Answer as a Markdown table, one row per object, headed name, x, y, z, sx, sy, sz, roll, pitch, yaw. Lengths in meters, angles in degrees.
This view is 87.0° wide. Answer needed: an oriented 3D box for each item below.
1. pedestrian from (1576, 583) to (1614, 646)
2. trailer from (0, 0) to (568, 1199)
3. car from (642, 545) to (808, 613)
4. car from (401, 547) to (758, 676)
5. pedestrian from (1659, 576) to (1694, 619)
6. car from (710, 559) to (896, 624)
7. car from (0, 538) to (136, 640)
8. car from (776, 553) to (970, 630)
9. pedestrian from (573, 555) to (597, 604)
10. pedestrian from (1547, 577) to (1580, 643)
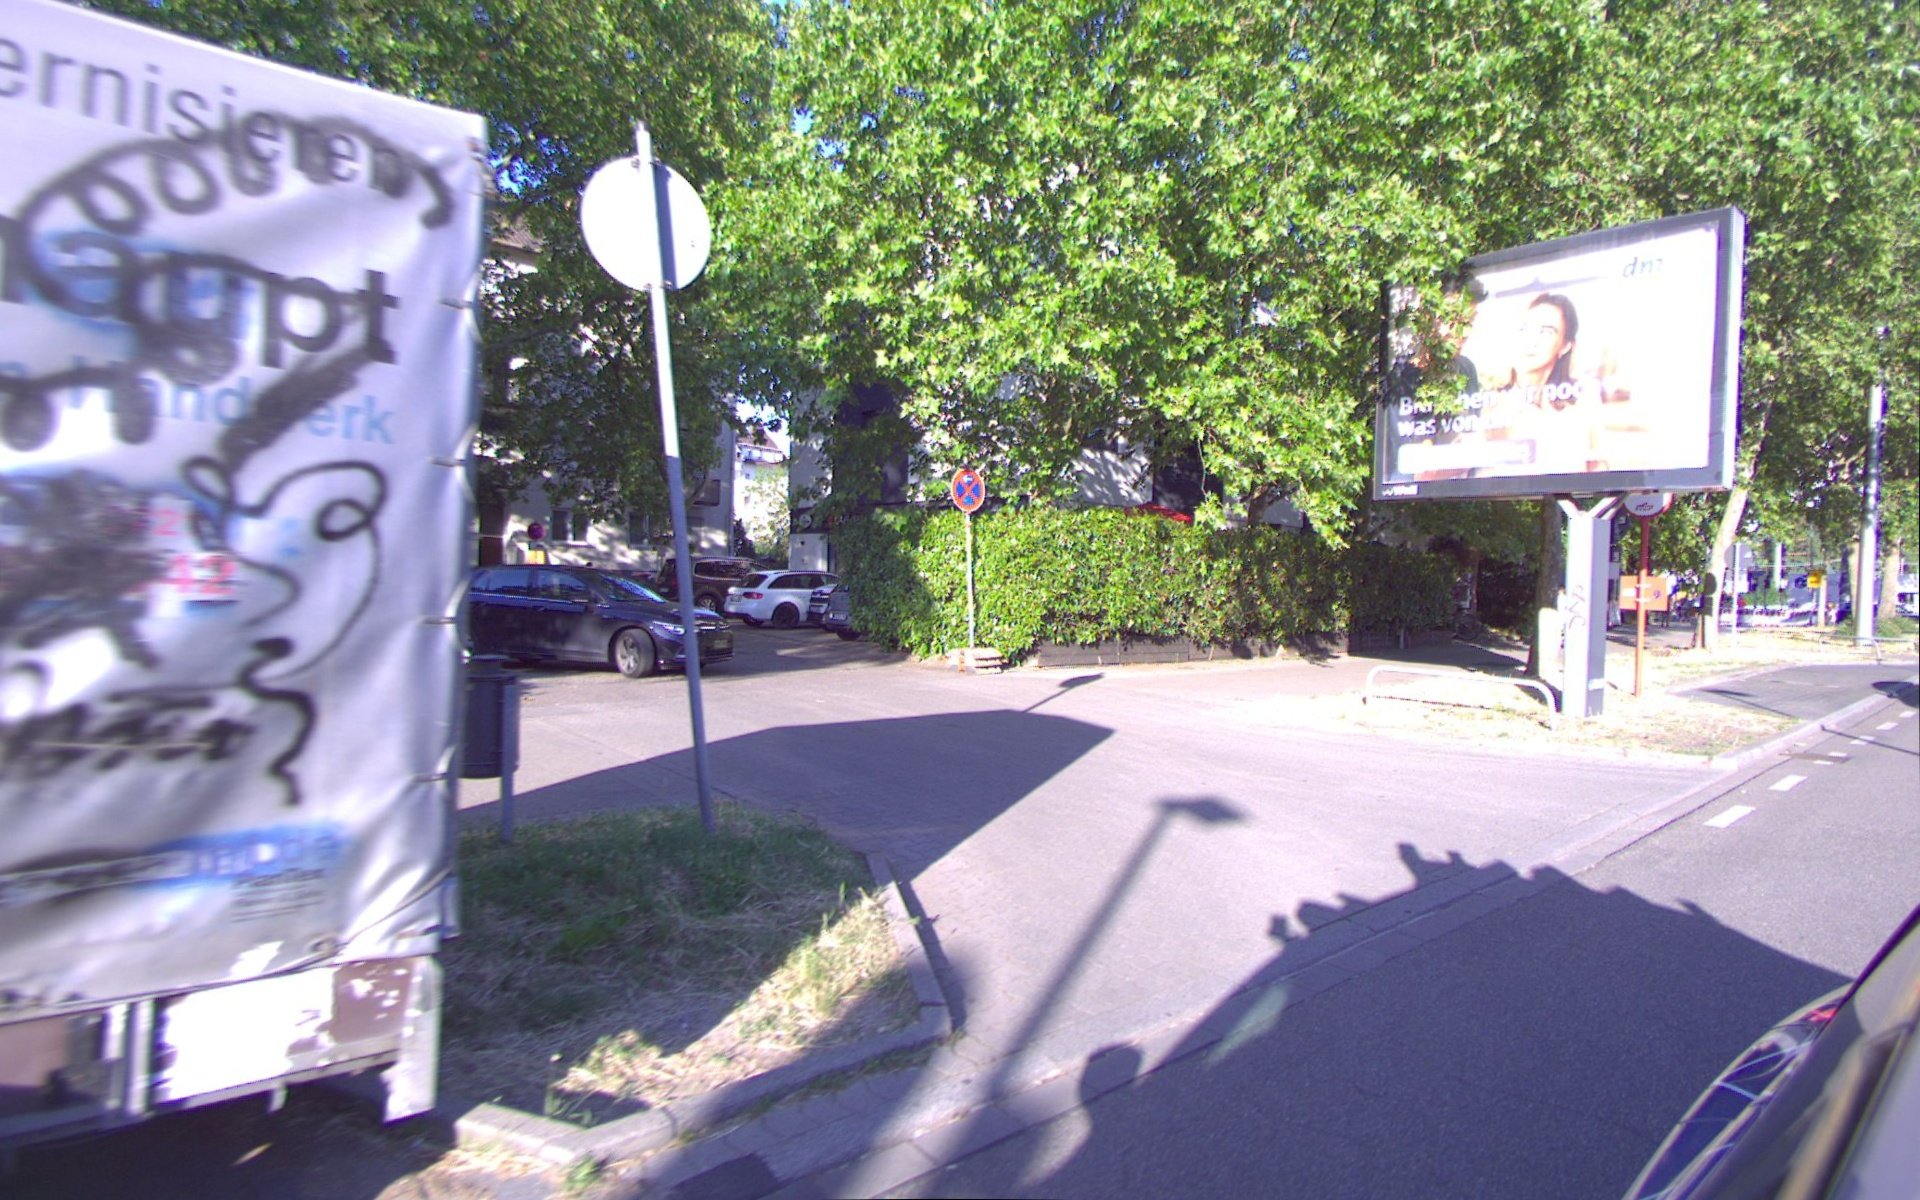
| name | x | y | z | sx | sy | sz | roll | pitch | yaw |
| --- | --- | --- | --- | --- | --- | --- | --- | --- | --- |
| pedestrian | 16.007 | 0.355 | 25.519 | 0.753 | 1.561 | 0.625 | 0 | 2 | -45 |
| trailer | -3.174 | -0.119 | 1.346 | 4.569 | 2.620 | 1.889 | 0 | 2 | -41 |
| car | -6.585 | -0.577 | 28.453 | 4.116 | 1.773 | 2.003 | 1 | 2 | -30 |
| car | -5.175 | 0.098 | 14.020 | 4.228 | 1.514 | 1.994 | 2 | 1 | 11 |
| pedestrian | 32.482 | -0.116 | 45.859 | 0.935 | 1.887 | 1.062 | 0 | 1 | -41 |
| car | -3.901 | -0.222 | 25.217 | 4.116 | 1.494 | 2.003 | 1 | 2 | -30 |
| car | -15.335 | -0.246 | 17.002 | 1.967 | 1.514 | 4.285 | 0 | 2 | -44 |
| car | -1.967 | -0.216 | 23.557 | 4.223 | 1.630 | 1.819 | 0 | 2 | -41 |
| pedestrian | -12.612 | -0.705 | 34.056 | 0.562 | 1.630 | 0.586 | 1 | 1 | -41 |
| pedestrian | 15.655 | 0.248 | 26.249 | 0.683 | 1.689 | 0.554 | 0 | 1 | -45 |
